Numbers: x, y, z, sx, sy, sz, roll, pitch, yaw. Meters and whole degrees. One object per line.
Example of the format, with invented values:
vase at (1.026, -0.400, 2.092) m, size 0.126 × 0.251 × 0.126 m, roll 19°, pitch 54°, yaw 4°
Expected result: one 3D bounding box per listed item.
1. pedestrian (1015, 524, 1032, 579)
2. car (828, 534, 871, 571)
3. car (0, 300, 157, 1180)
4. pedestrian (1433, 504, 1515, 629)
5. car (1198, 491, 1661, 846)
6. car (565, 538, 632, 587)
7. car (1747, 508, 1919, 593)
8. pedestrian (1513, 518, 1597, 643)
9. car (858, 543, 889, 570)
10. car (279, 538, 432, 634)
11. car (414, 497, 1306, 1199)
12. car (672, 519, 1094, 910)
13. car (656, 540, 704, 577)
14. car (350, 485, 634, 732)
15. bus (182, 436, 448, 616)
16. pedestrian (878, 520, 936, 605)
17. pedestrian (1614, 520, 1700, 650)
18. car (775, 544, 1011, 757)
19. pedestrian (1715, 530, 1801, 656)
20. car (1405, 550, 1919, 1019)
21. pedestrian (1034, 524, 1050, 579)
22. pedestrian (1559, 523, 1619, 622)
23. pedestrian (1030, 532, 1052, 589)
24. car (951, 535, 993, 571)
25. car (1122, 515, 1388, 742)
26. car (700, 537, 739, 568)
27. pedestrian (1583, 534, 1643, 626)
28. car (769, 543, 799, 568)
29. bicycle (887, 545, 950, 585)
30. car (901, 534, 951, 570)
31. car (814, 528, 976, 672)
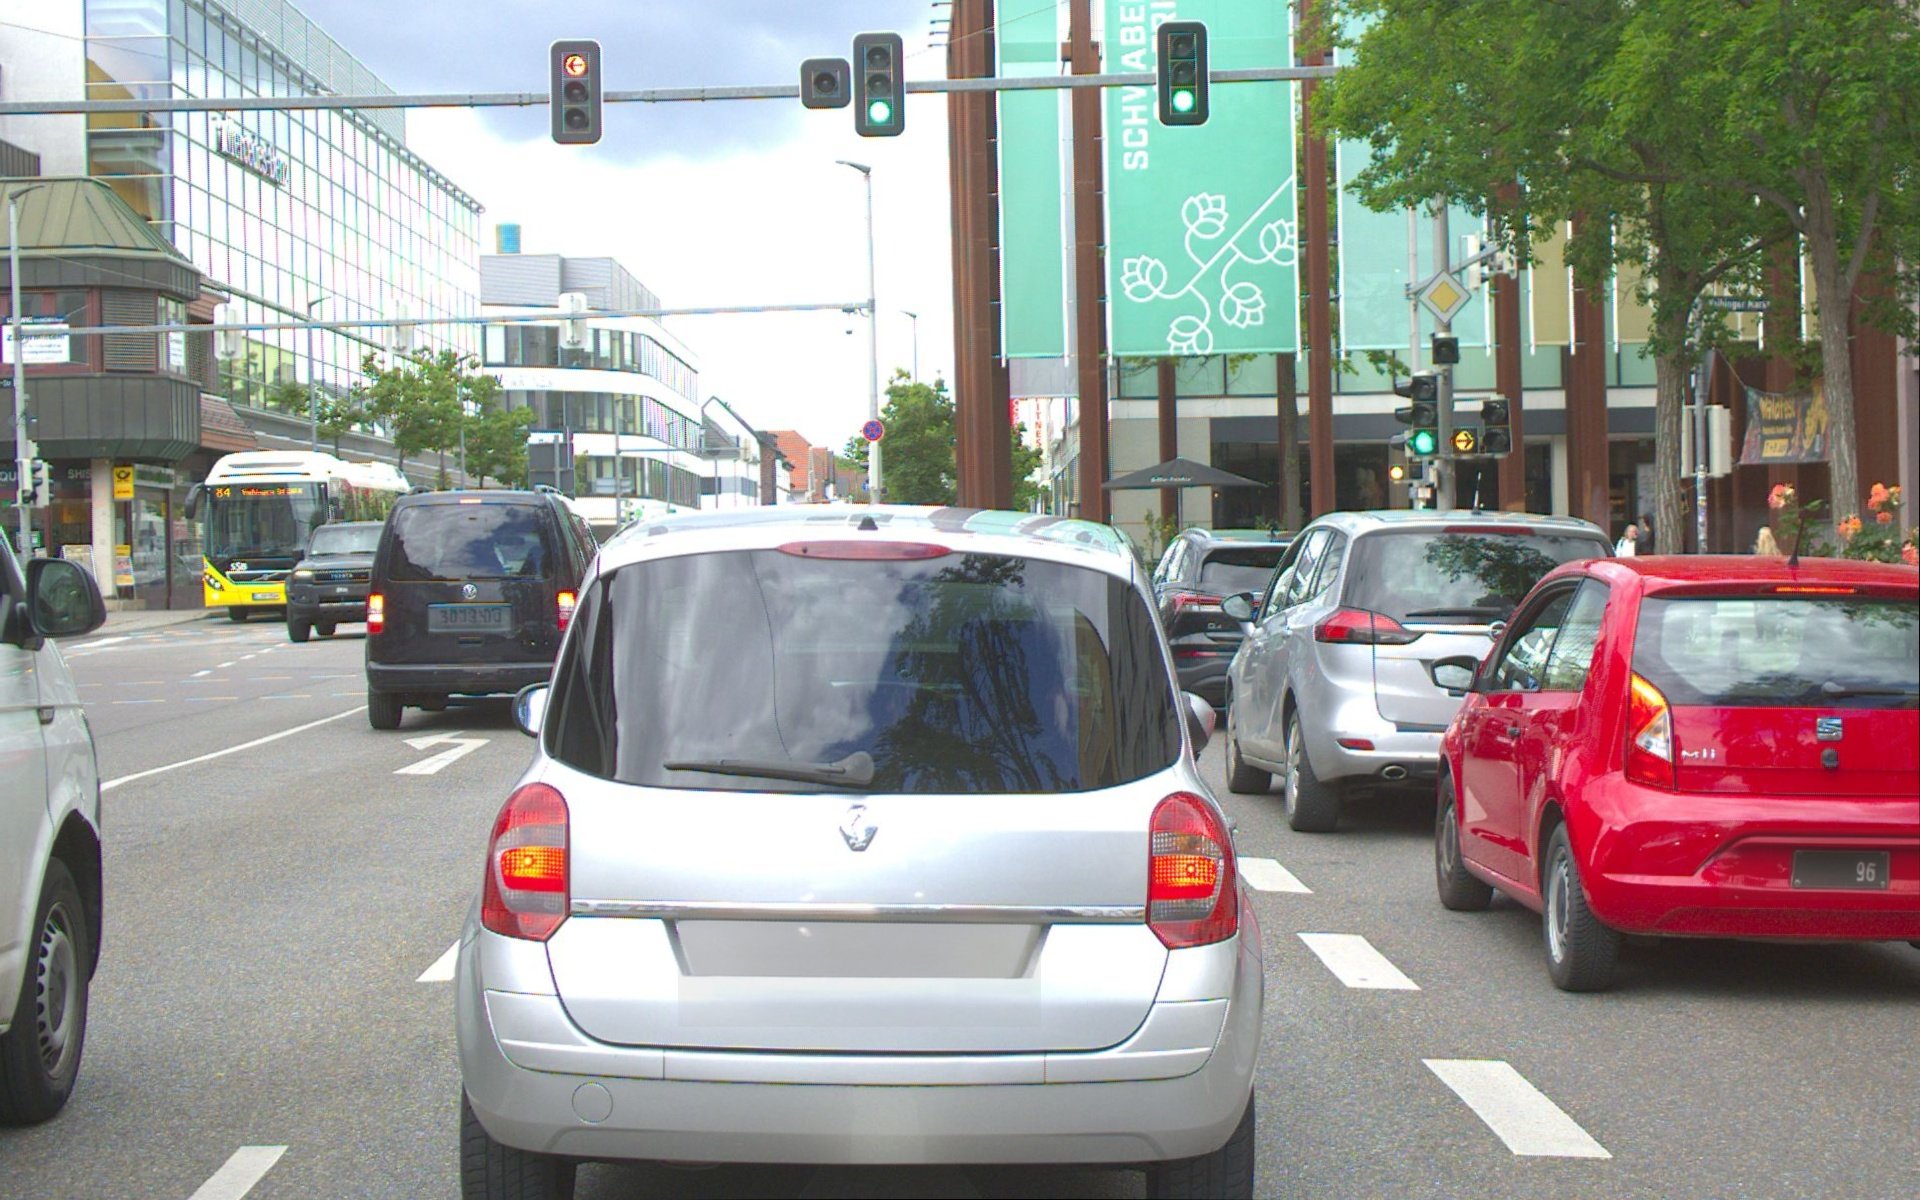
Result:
pedestrian at (1.823, -1.393, 98.315) m, size 0.427 × 1.544 × 0.481 m, roll -1°, pitch 1°, yaw -2°
car at (-4.584, -1.965, 142.817) m, size 1.660 × 1.460 × 4.000 m, roll -2°, pitch 1°, yaw 0°
car at (-3.171, 0.329, 6.968) m, size 1.993 × 2.007 × 4.840 m, roll 1°, pitch 1°, yaw -1°
pedestrian at (7.045, -0.461, 47.144) m, size 0.878 × 1.675 × 1.120 m, roll -1°, pitch 1°, yaw -3°
car at (2.432, 0.290, 18.872) m, size 1.739 × 1.695 × 4.381 m, roll 1°, pitch 1°, yaw -2°
car at (-11.295, -1.182, 107.575) m, size 1.660 × 1.460 × 4.000 m, roll -2°, pitch 1°, yaw 0°
car at (15.456, -0.839, 57.441) m, size 4.172 × 1.399 × 1.801 m, roll 0°, pitch 1°, yaw -3°
pedestrian at (8.152, -0.273, 47.125) m, size 0.878 × 1.675 × 1.120 m, roll -1°, pitch 1°, yaw -3°
car at (-4.957, -2.512, 196.828) m, size 1.660 × 1.460 × 4.000 m, roll -2°, pitch 1°, yaw 0°
car at (-9.719, -0.241, 55.536) m, size 1.759 × 1.443 × 4.036 m, roll -1°, pitch 1°, yaw 0°
car at (-0.213, 0.558, 8.340) m, size 1.669 × 1.549 × 3.642 m, roll 1°, pitch 1°, yaw -1°
car at (-0.331, 0.425, 15.656) m, size 1.669 × 1.549 × 3.642 m, roll 1°, pitch 1°, yaw -1°
car at (-11.749, -1.743, 144.271) m, size 1.660 × 1.460 × 4.000 m, roll -2°, pitch 1°, yaw 0°
car at (-3.716, 0.016, 27.985) m, size 1.707 × 1.814 × 4.572 m, roll 1°, pitch 1°, yaw -1°
bus at (-13.412, -1.584, 72.733) m, size 2.987 × 3.316 × 12.306 m, roll -3°, pitch 1°, yaw 1°
pedestrian at (-1.022, -0.726, 66.644) m, size 0.871 × 1.641 × 0.679 m, roll 0°, pitch 2°, yaw 34°
pedestrian at (9.624, -0.220, 47.498) m, size 0.878 × 1.761 × 1.120 m, roll -1°, pitch 1°, yaw -3°
car at (-0.501, 0.332, 26.509) m, size 1.669 × 1.490 × 3.642 m, roll 1°, pitch 1°, yaw -1°
pedestrian at (11.377, -0.114, 49.038) m, size 0.878 × 1.761 × 1.120 m, roll -1°, pitch 1°, yaw -3°
car at (2.729, 0.563, 12.704) m, size 1.626 × 1.443 × 3.642 m, roll 1°, pitch 1°, yaw -1°
pedestrian at (2.345, -1.384, 98.294) m, size 0.427 × 1.544 × 0.481 m, roll -1°, pitch 1°, yaw -2°
pedestrian at (10.490, -0.472, 57.396) m, size 0.741 × 1.620 × 0.954 m, roll -1°, pitch 1°, yaw -4°
pedestrian at (1.760, -0.865, 74.615) m, size 0.447 × 1.216 × 0.606 m, roll -1°, pitch 1°, yaw 2°
car at (0.542, -2.166, 157.625) m, size 1.877 × 1.559 × 4.000 m, roll 1°, pitch 1°, yaw 0°
car at (2.347, 0.174, 28.367) m, size 1.739 × 1.695 × 4.381 m, roll 1°, pitch 1°, yaw -1°
car at (-11.882, -2.372, 169.998) m, size 1.660 × 1.460 × 4.000 m, roll -2°, pitch 1°, yaw 0°
pedestrian at (11.414, -0.358, 60.112) m, size 0.821 × 1.589 × 1.039 m, roll -1°, pitch 1°, yaw -1°
car at (-11.036, -2.789, 216.097) m, size 1.660 × 1.460 × 4.000 m, roll -2°, pitch 1°, yaw 0°
bicycle at (-1.055, -0.907, 88.079) m, size 1.561 × 0.989 × 0.752 m, roll -1°, pitch 1°, yaw 3°
car at (-1.300, -1.845, 132.358) m, size 1.877 × 1.330 × 4.000 m, roll 1°, pitch 1°, yaw 0°
car at (-0.705, -0.034, 37.969) m, size 1.669 × 1.490 × 3.642 m, roll 1°, pitch 1°, yaw -1°
